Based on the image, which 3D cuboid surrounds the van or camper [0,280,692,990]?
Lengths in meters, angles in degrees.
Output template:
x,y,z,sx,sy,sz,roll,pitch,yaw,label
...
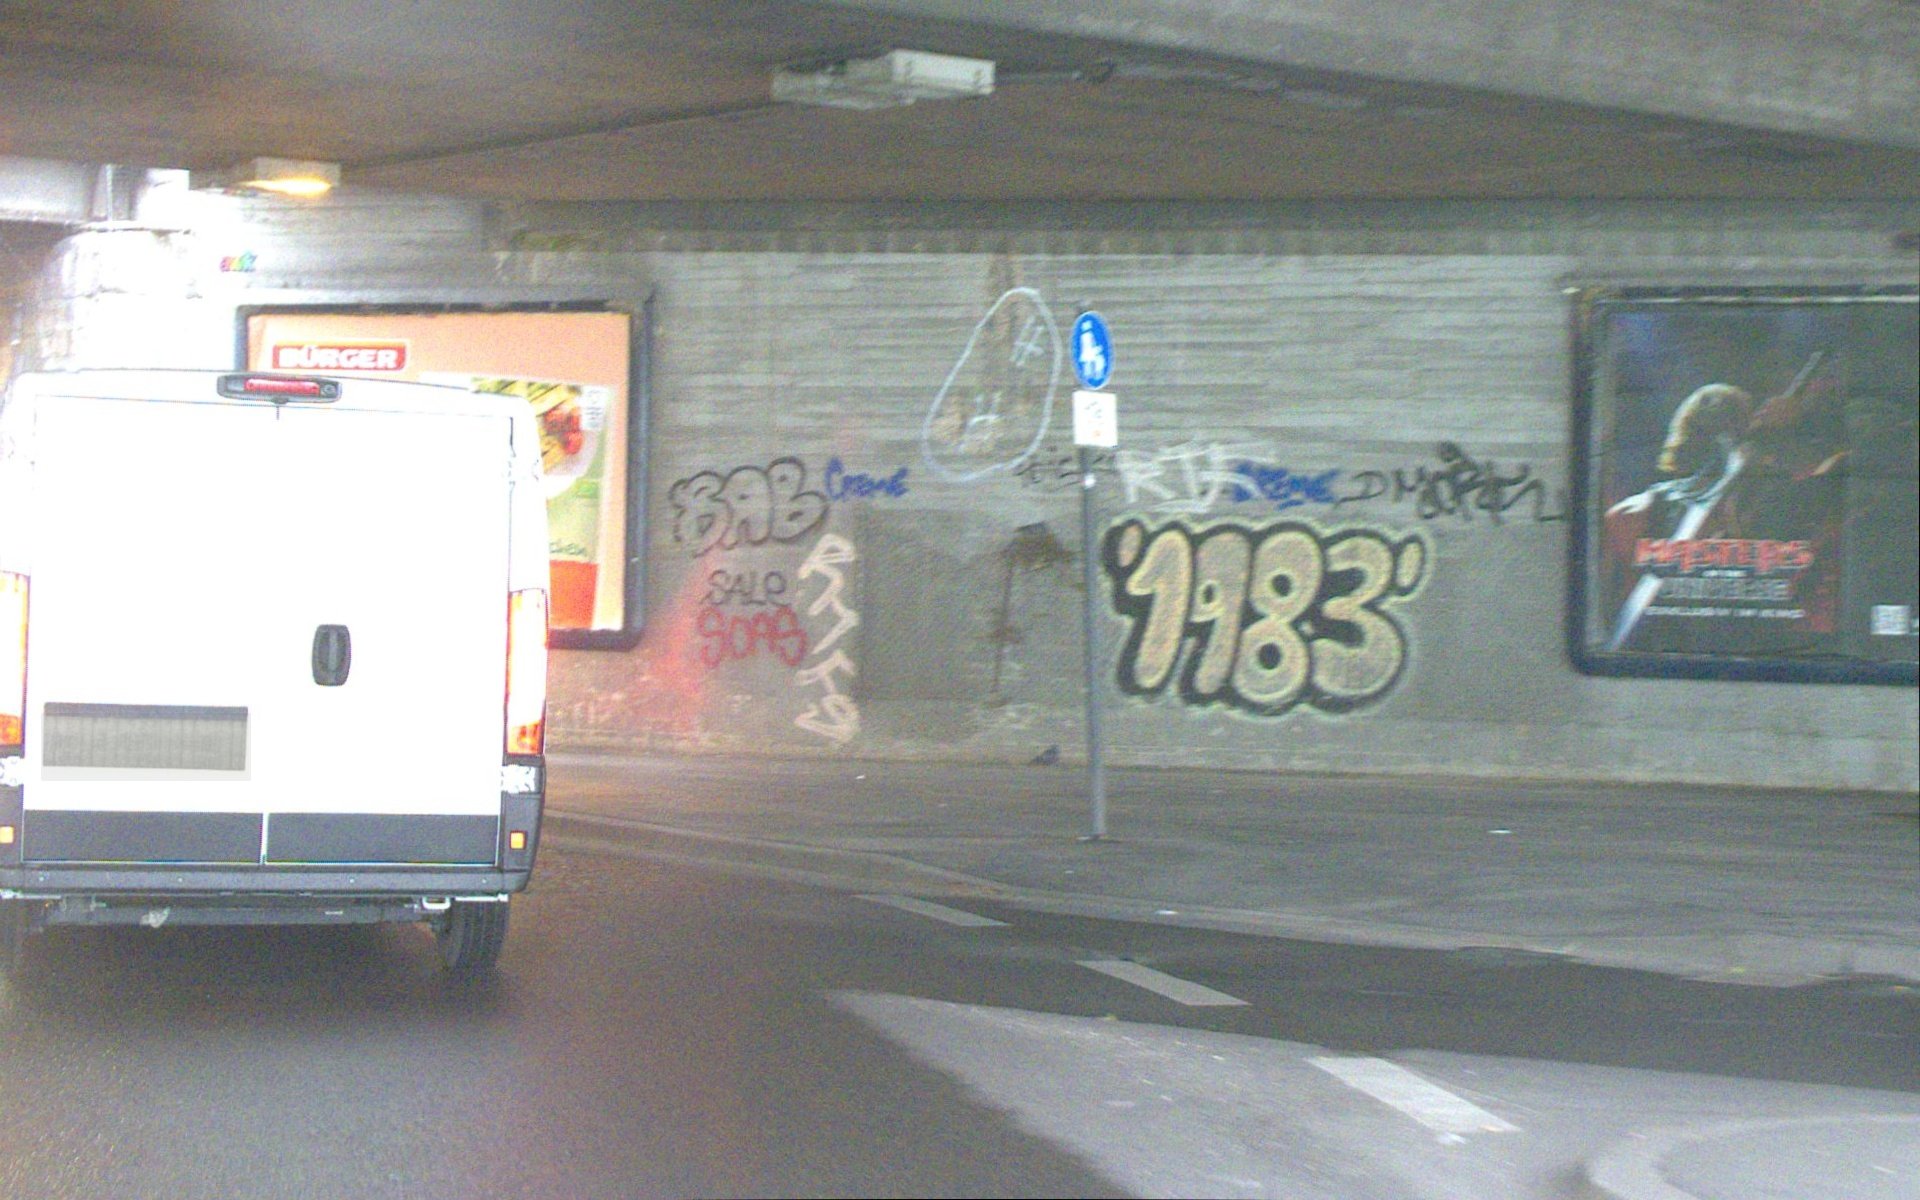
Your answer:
x,y,z,sx,sy,sz,roll,pitch,yaw,label
-2.984,0.153,14.307,2.697,2.408,4.904,1,-1,-17,van or camper
